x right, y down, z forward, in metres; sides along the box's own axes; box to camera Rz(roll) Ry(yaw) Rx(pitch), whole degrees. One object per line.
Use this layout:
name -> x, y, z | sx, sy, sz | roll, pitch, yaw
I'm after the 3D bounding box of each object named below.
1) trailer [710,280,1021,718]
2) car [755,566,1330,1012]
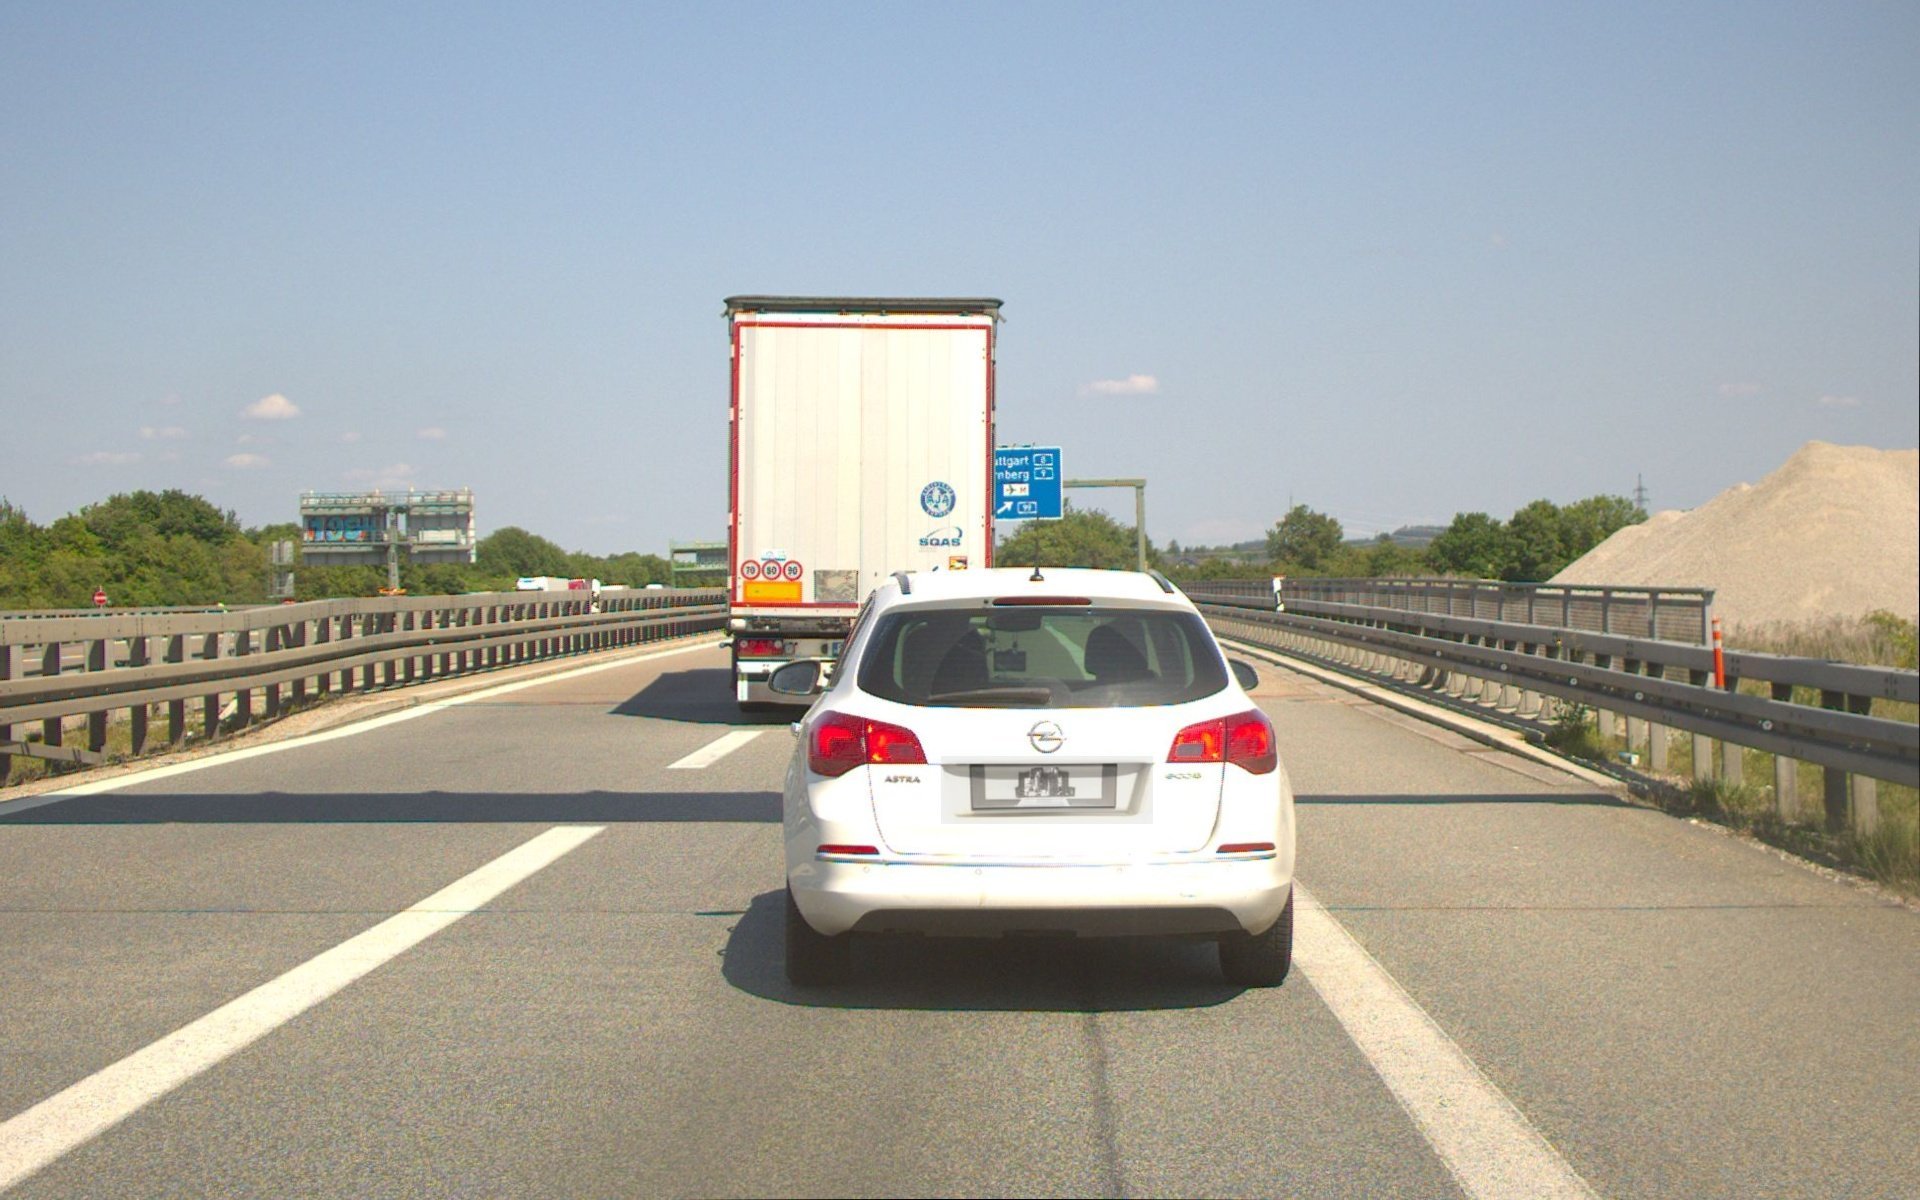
trailer -> -0.885, -0.921, 38.117 | 2.912, 4.131, 11.257 | 0, 0, 0
car -> 0.294, 0.595, 13.283 | 1.854, 1.438, 4.372 | 0, 0, 1
